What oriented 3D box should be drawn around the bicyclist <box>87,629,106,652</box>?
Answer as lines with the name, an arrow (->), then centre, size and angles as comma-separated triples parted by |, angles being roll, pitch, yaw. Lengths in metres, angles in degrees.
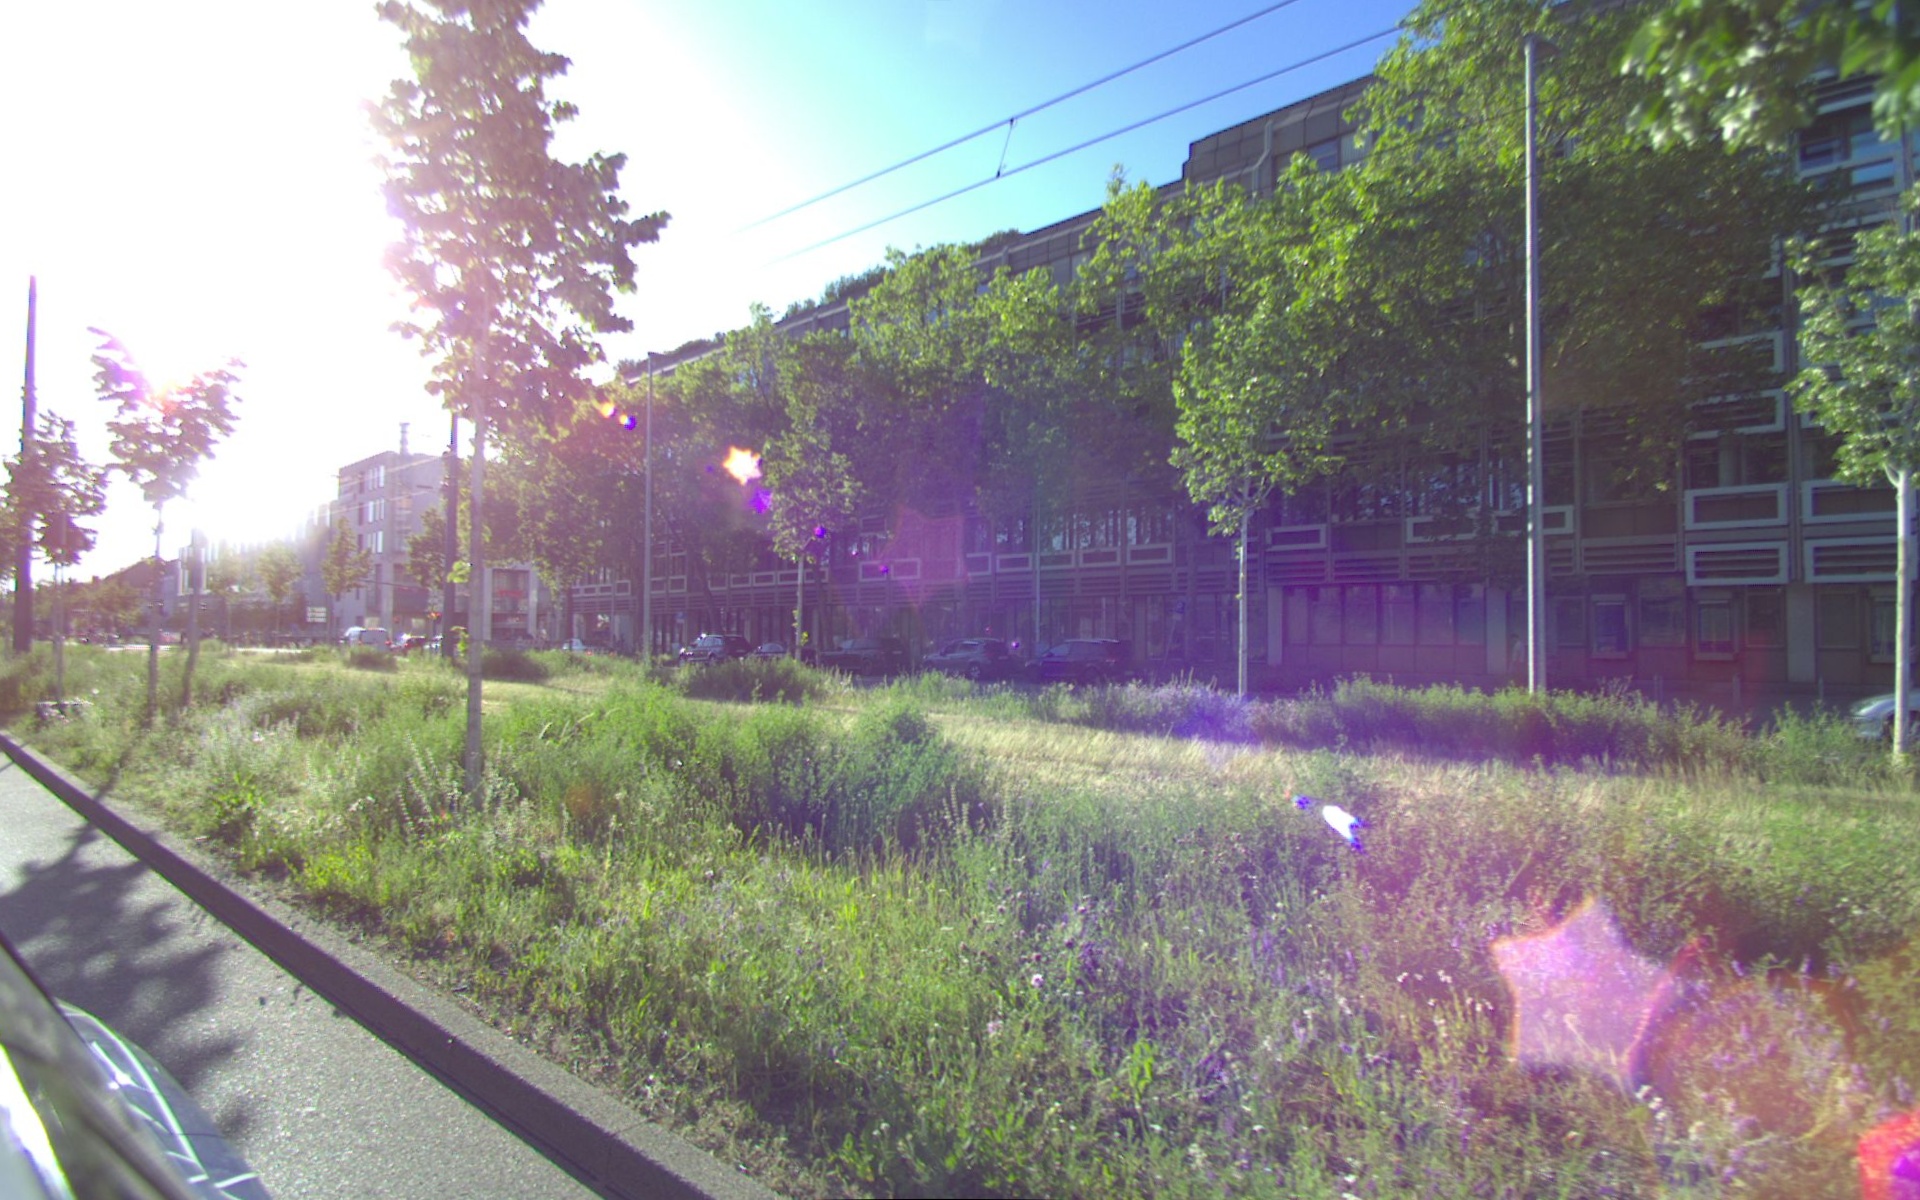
bicyclist -> -59.251, 2.793, 69.418 | 0.625, 1.587, 0.882 | -2, -3, 41

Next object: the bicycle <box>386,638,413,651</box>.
bicycle -> -46.049, 3.656, 83.191 | 0.709, 1.102, 1.775 | -2, -3, 42

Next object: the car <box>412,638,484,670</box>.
car -> -27.497, 2.858, 54.316 | 4.691, 1.606, 1.821 | -2, -3, 41

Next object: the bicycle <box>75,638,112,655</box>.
bicycle -> -59.322, 3.197, 69.281 | 0.624, 1.125, 1.795 | -2, -3, 34

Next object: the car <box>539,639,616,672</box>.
car -> -19.020, 2.742, 50.243 | 4.583, 1.527, 1.739 | -2, -4, 43

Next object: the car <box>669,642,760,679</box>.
car -> -12.402, 2.990, 50.940 | 4.865, 1.693, 1.973 | -2, -2, 41

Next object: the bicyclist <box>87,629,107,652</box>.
bicyclist -> -58.712, 2.742, 68.825 | 0.650, 1.554, 0.838 | -2, -3, 33

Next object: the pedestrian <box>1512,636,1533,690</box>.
pedestrian -> 16.535, 1.836, 29.753 | 0.447, 1.573, 0.404 | -2, -3, 43

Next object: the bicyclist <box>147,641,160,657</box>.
bicyclist -> -73.981, 4.498, 92.865 | 0.830, 1.412, 0.806 | 1, -2, -44

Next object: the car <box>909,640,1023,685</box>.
car -> 0.192, 2.410, 39.220 | 1.888, 1.645, 4.365 | 5, -5, -45

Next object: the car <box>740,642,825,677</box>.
car -> -8.201, 2.707, 46.654 | 1.970, 1.532, 4.003 | 1, -3, -44

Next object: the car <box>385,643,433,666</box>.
car -> -37.599, 3.710, 68.990 | 1.819, 1.497, 3.882 | 7, -7, -44

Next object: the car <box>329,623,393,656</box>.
car -> -39.200, 2.596, 66.179 | 2.232, 2.029, 5.713 | 5, -5, -44

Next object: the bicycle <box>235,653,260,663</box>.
bicycle -> -71.120, 5.826, 101.026 | 2.044, 0.934, 0.807 | 1, -2, -40

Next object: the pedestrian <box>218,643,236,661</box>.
pedestrian -> -70.425, 4.998, 97.195 | 0.994, 1.663, 0.948 | 0, -2, 2

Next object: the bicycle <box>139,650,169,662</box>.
bicycle -> -73.949, 5.147, 92.872 | 2.046, 0.986, 0.806 | 1, -2, -44

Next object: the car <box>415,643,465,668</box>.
car -> -32.716, 3.483, 63.666 | 1.691, 1.464, 3.578 | 6, -6, -44

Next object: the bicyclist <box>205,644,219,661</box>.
bicyclist -> -70.720, 4.954, 95.700 | 0.927, 1.556, 0.649 | 2, -3, -44

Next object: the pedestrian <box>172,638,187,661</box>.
pedestrian -> -73.544, 4.651, 95.331 | 0.898, 2.140, 0.934 | -2, -3, 40

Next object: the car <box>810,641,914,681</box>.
car -> -4.205, 2.558, 43.032 | 4.621, 1.569, 1.725 | -2, -2, 42

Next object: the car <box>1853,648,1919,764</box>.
car -> 14.729, 1.448, 13.619 | 3.998, 1.587, 1.884 | -2, -4, 41

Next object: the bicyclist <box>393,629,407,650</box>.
bicyclist -> -46.044, 3.236, 83.201 | 0.701, 1.682, 0.775 | -2, -3, 43

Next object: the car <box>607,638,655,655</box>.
car -> -35.778, 5.073, 110.195 | 4.478, 1.725, 2.129 | 2, -2, -38

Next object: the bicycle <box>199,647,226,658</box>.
bicycle -> -70.711, 4.955, 95.703 | 1.949, 1.004, 0.649 | 1, -3, -44

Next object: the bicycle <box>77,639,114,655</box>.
bicycle -> -58.744, 3.188, 68.771 | 0.650, 1.102, 1.780 | -2, -3, 33

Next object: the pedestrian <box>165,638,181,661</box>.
pedestrian -> -74.478, 4.705, 95.770 | 0.897, 2.140, 0.935 | -2, -3, 38

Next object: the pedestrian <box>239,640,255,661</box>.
pedestrian -> -70.464, 4.958, 99.986 | 0.915, 2.029, 1.011 | -2, -3, 37

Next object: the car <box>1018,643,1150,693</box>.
car -> 4.245, 2.318, 35.068 | 4.278, 1.608, 1.840 | -2, -4, 44

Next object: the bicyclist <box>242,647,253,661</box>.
bicyclist -> -71.130, 5.345, 101.040 | 0.828, 1.367, 0.807 | 1, -2, -39

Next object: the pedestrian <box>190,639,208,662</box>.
pedestrian -> -72.130, 4.741, 95.918 | 1.063, 2.145, 1.083 | -2, -3, 41

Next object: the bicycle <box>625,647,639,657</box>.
bicycle -> -39.442, 6.274, 121.632 | 0.650, 1.119, 2.480 | 2, -3, -40

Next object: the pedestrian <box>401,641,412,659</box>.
pedestrian -> -56.463, 5.090, 103.255 | 0.745, 1.753, 0.754 | 3, -3, -44
